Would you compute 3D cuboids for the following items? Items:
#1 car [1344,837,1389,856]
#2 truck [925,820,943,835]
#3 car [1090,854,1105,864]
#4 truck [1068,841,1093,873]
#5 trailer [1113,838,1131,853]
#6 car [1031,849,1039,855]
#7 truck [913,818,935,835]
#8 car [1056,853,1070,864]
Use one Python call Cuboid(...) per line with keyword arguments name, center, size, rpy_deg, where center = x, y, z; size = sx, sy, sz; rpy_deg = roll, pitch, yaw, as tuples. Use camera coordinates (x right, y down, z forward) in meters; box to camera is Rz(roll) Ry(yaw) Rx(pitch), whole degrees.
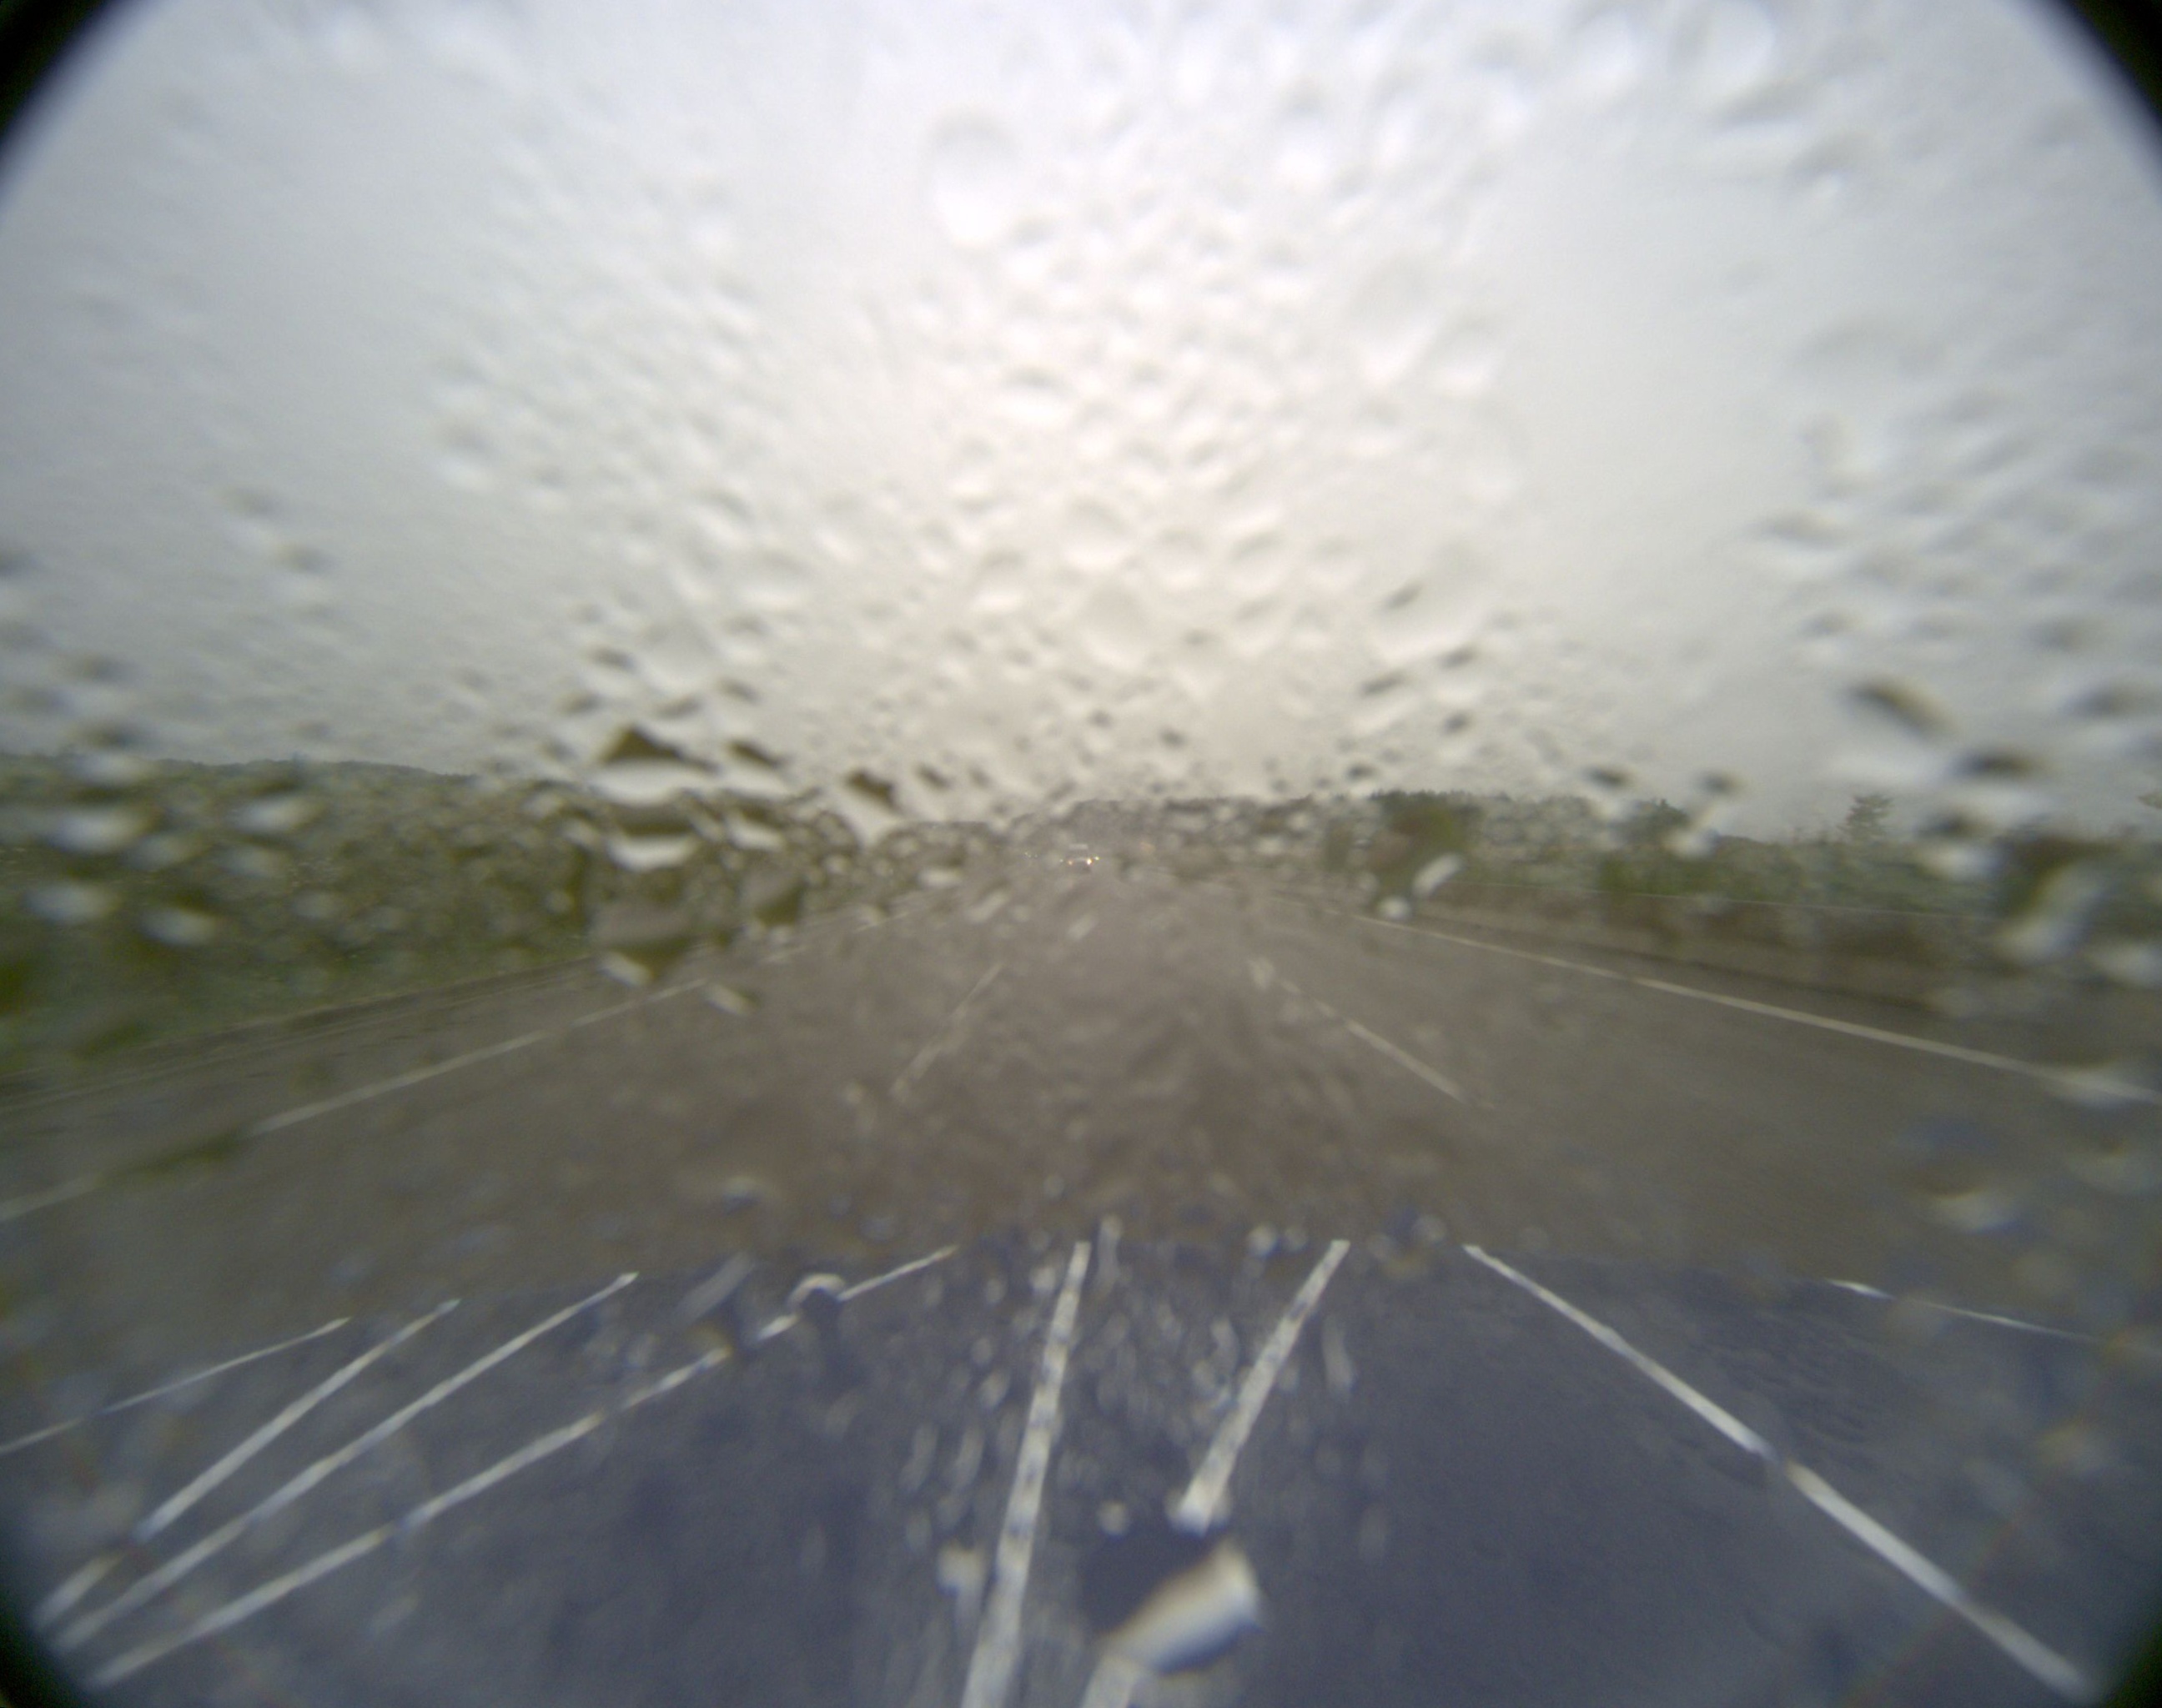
Cuboid(name="car", center=(19.907, -0.532, 53.107), size=(1.650, 1.250, 3.798), rpy_deg=(-2, 0, 0))
Cuboid(name="truck", center=(-27.030, -4.807, 140.153), size=(2.431, 2.553, 5.077), rpy_deg=(-2, 1, -3))
Cuboid(name="car", center=(2.557, 0.762, 117.246), size=(1.999, 1.608, 3.999), rpy_deg=(-2, 0, -3))
Cuboid(name="truck", center=(-0.010, 0.202, 69.594), size=(1.998, 2.699, 7.999), rpy_deg=(-2, 1, 1))
Cuboid(name="trailer", center=(11.335, -2.313, 211.862), size=(3.395, 3.995, 13.884), rpy_deg=(-2, 0, -3))
Cuboid(name="car", center=(-12.536, -0.635, 208.930), size=(1.999, 1.543, 3.998), rpy_deg=(-2, 0, -6))
Cuboid(name="truck", center=(-25.613, -4.512, 124.116), size=(2.372, 2.589, 5.061), rpy_deg=(-2, 1, 0))
Cuboid(name="car", center=(-2.831, 0.700, 118.822), size=(1.999, 1.521, 3.999), rpy_deg=(-2, 0, -3))
